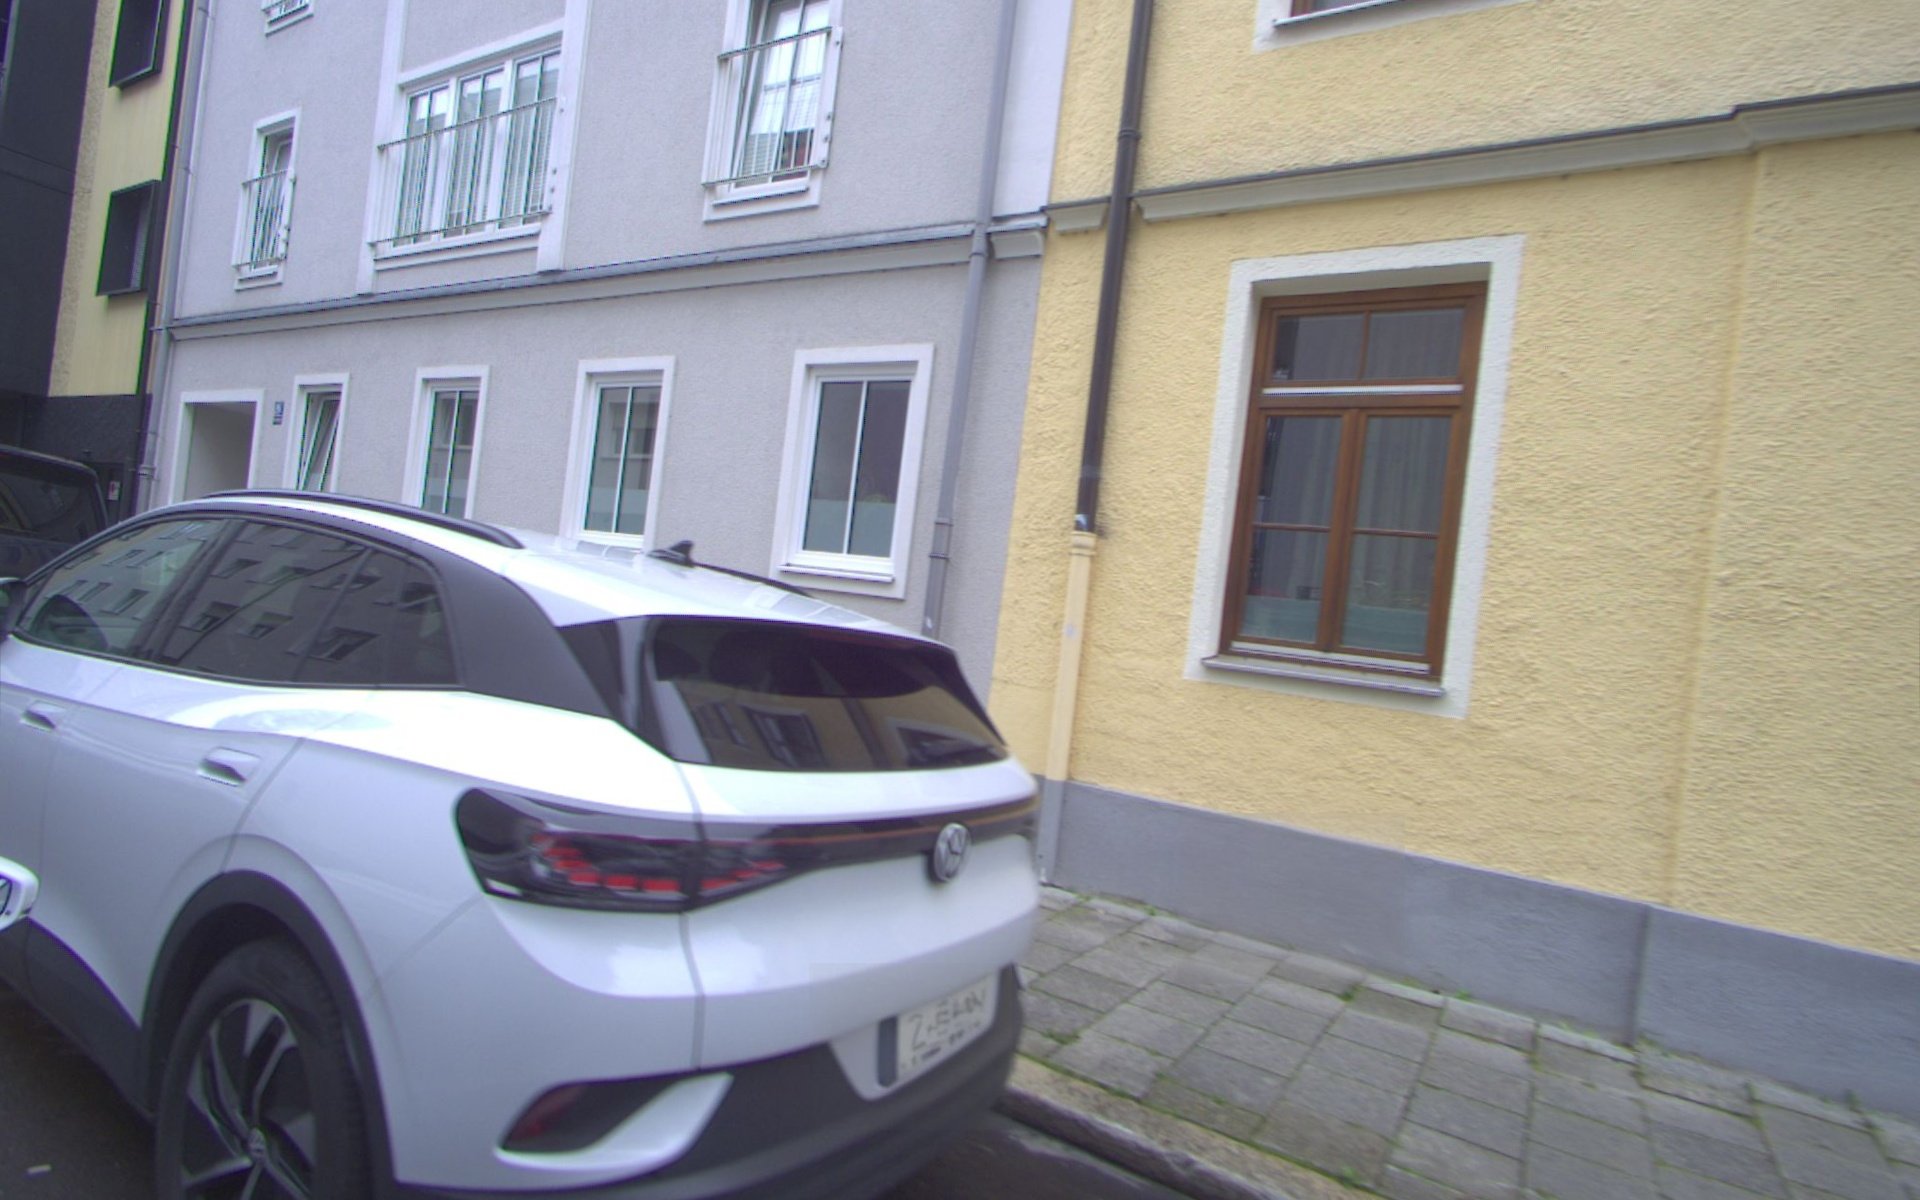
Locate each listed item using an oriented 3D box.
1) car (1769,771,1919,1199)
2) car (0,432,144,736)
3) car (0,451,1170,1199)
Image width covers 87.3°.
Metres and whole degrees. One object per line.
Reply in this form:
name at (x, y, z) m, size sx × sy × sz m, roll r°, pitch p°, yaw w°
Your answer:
car at (2.851, 1.172, 0.361) m, size 3.754 × 1.485 × 1.669 m, roll 7°, pitch -3°, yaw 31°
car at (-8.092, -0.339, 7.346) m, size 4.343 × 1.931 × 1.833 m, roll 7°, pitch -2°, yaw 32°
car at (-1.802, 0.548, 3.120) m, size 4.342 × 1.584 × 1.686 m, roll 7°, pitch -3°, yaw 32°
